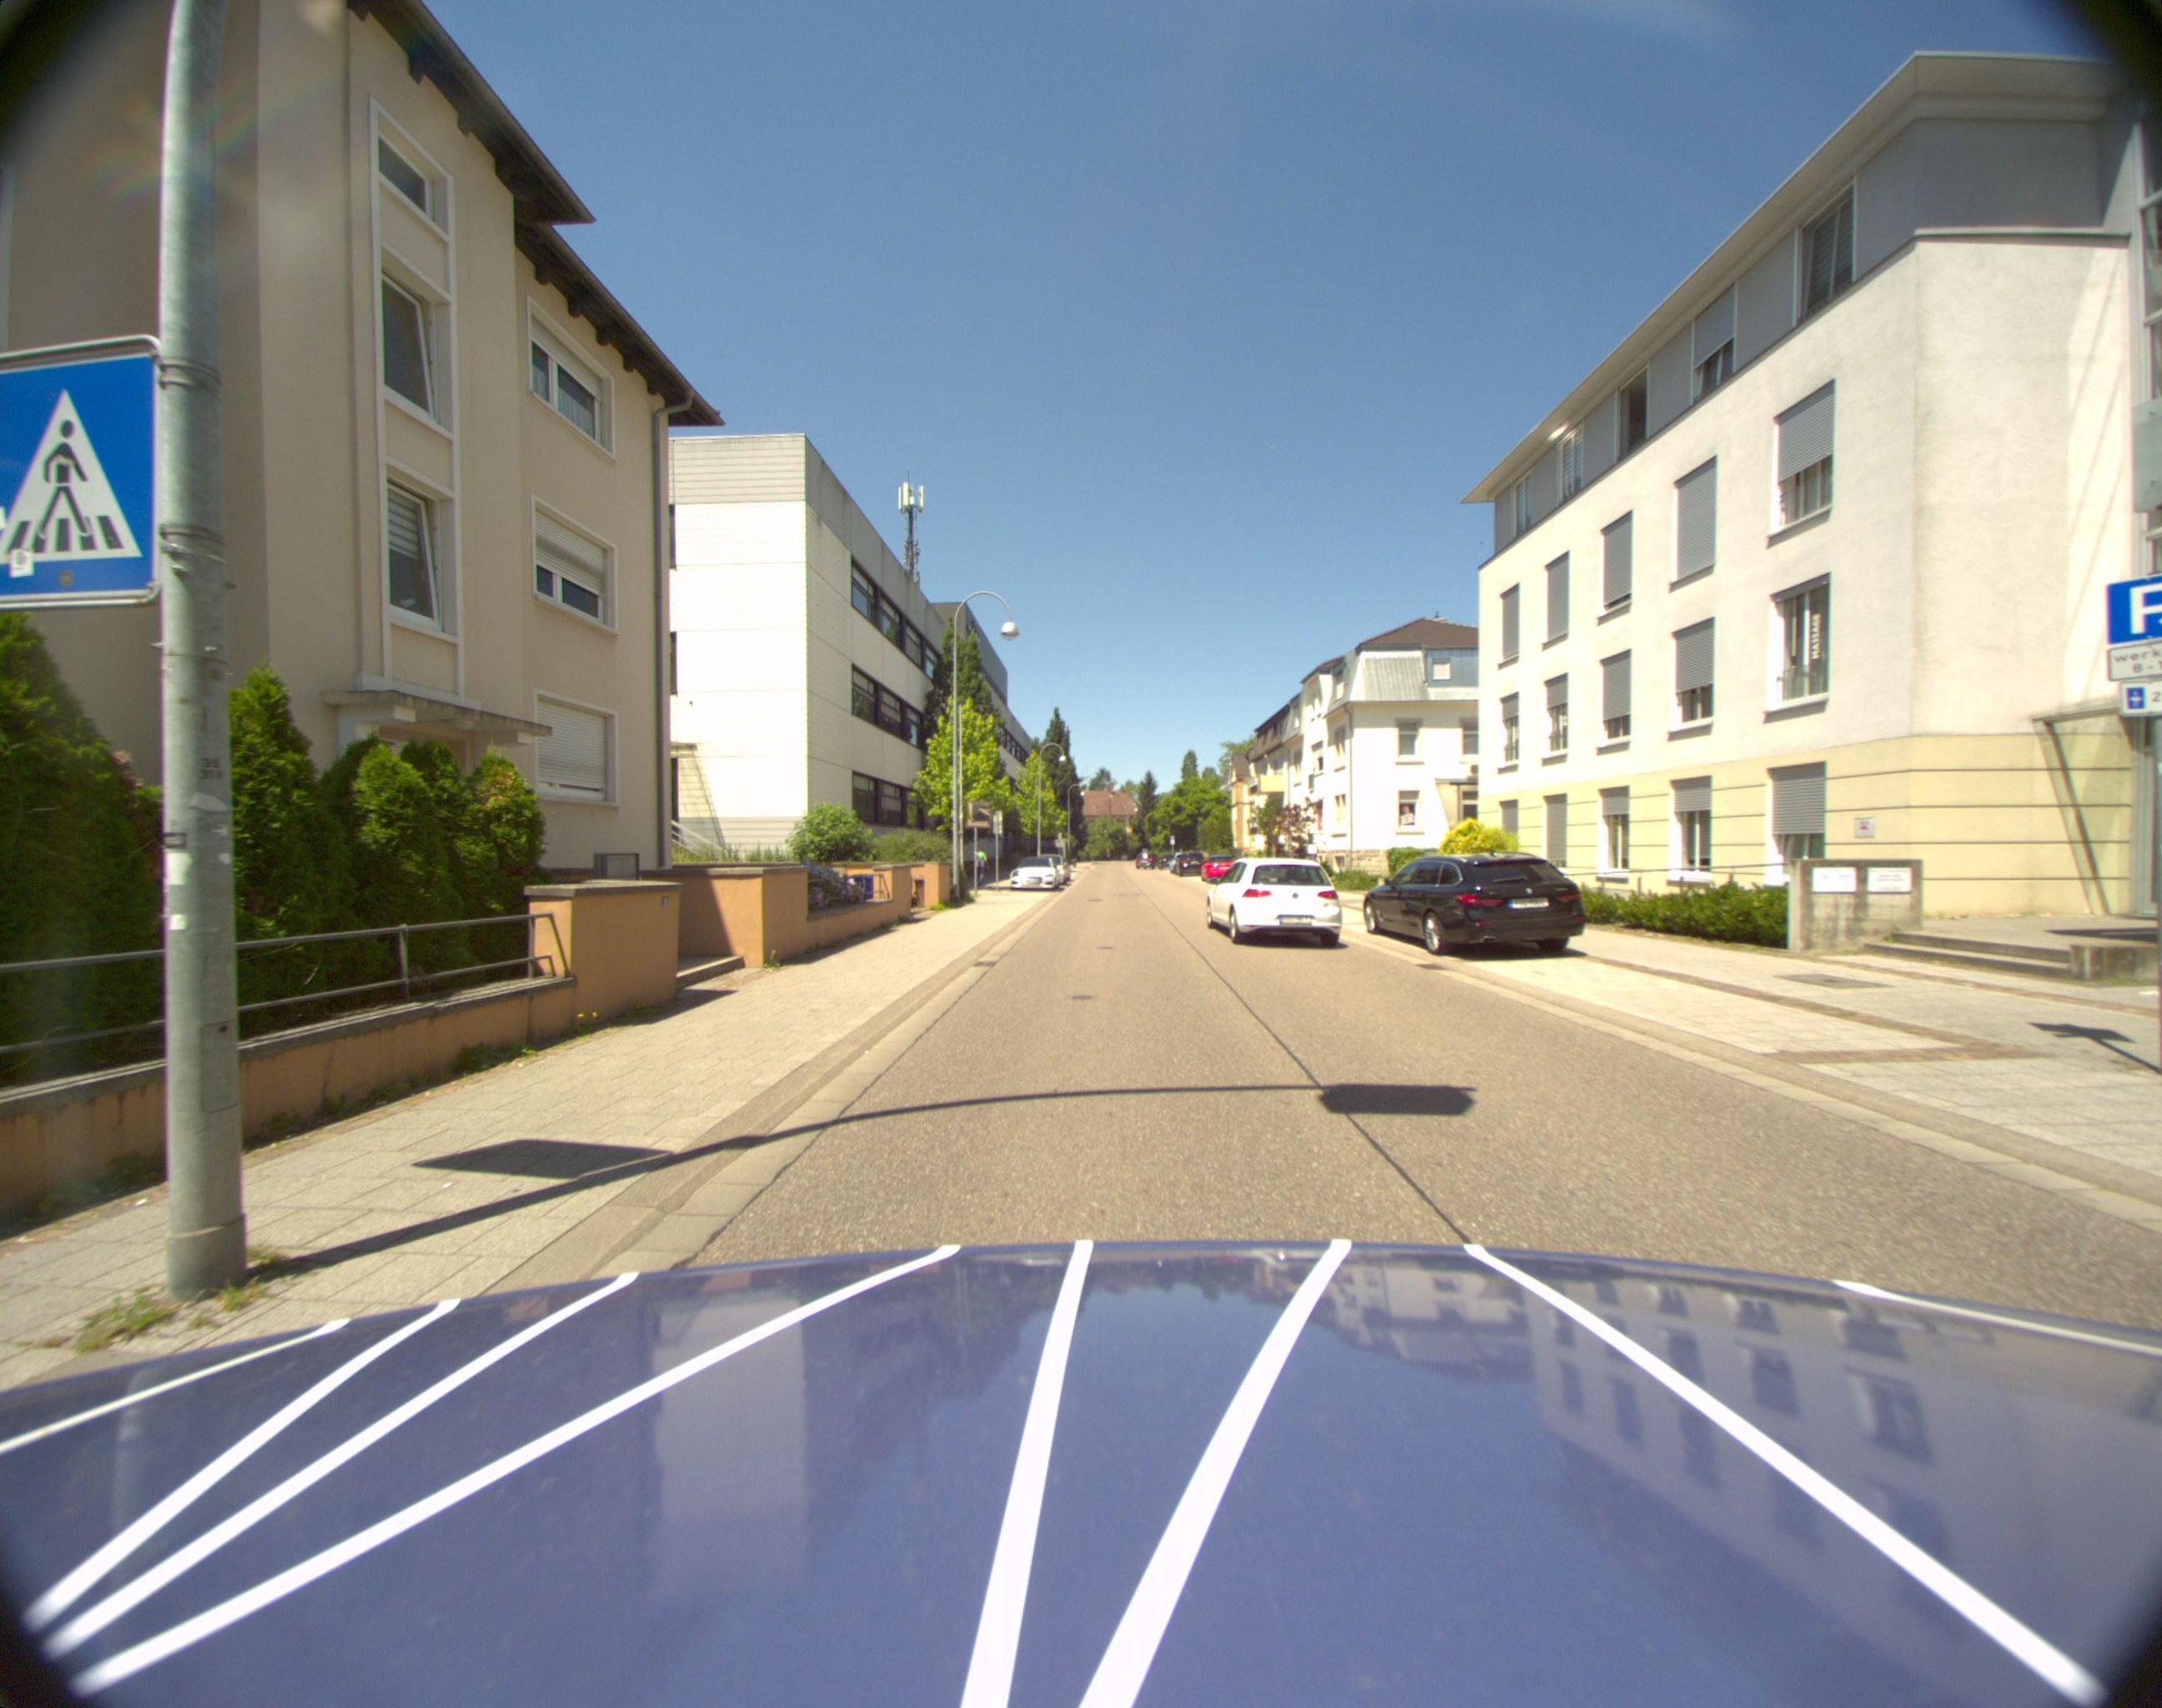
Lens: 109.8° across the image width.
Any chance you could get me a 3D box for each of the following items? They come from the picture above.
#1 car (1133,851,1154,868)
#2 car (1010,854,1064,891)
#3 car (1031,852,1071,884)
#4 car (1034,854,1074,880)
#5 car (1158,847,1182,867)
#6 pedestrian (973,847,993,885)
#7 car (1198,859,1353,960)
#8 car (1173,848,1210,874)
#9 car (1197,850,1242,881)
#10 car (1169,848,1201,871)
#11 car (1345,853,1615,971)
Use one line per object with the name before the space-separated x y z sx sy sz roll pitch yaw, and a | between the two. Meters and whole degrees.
car | 6.286 0.558 76.943 1.925 1.668 4.287 0 1 2
car | -1.828 0.740 33.012 1.920 1.460 4.880 1 1 2
car | -1.455 0.666 38.210 1.714 1.490 3.877 1 1 2
car | -1.478 0.681 43.255 1.841 1.357 4.001 1 1 4
car | 8.366 0.255 71.354 1.924 1.681 4.288 -3 0 4
pedestrian | -4.453 0.519 34.637 0.680 1.690 1.050 1 1 2
car | 3.316 0.874 13.748 1.812 1.474 3.869 1 1 0
car | 7.437 0.437 51.465 1.925 1.577 4.436 -3 0 3
car | 7.272 0.588 40.169 1.736 1.444 4.260 -3 0 3
car | 7.718 0.371 56.976 1.925 1.577 4.287 -3 0 3
car | 6.188 0.767 12.659 1.921 1.444 5.149 -3 0 3
